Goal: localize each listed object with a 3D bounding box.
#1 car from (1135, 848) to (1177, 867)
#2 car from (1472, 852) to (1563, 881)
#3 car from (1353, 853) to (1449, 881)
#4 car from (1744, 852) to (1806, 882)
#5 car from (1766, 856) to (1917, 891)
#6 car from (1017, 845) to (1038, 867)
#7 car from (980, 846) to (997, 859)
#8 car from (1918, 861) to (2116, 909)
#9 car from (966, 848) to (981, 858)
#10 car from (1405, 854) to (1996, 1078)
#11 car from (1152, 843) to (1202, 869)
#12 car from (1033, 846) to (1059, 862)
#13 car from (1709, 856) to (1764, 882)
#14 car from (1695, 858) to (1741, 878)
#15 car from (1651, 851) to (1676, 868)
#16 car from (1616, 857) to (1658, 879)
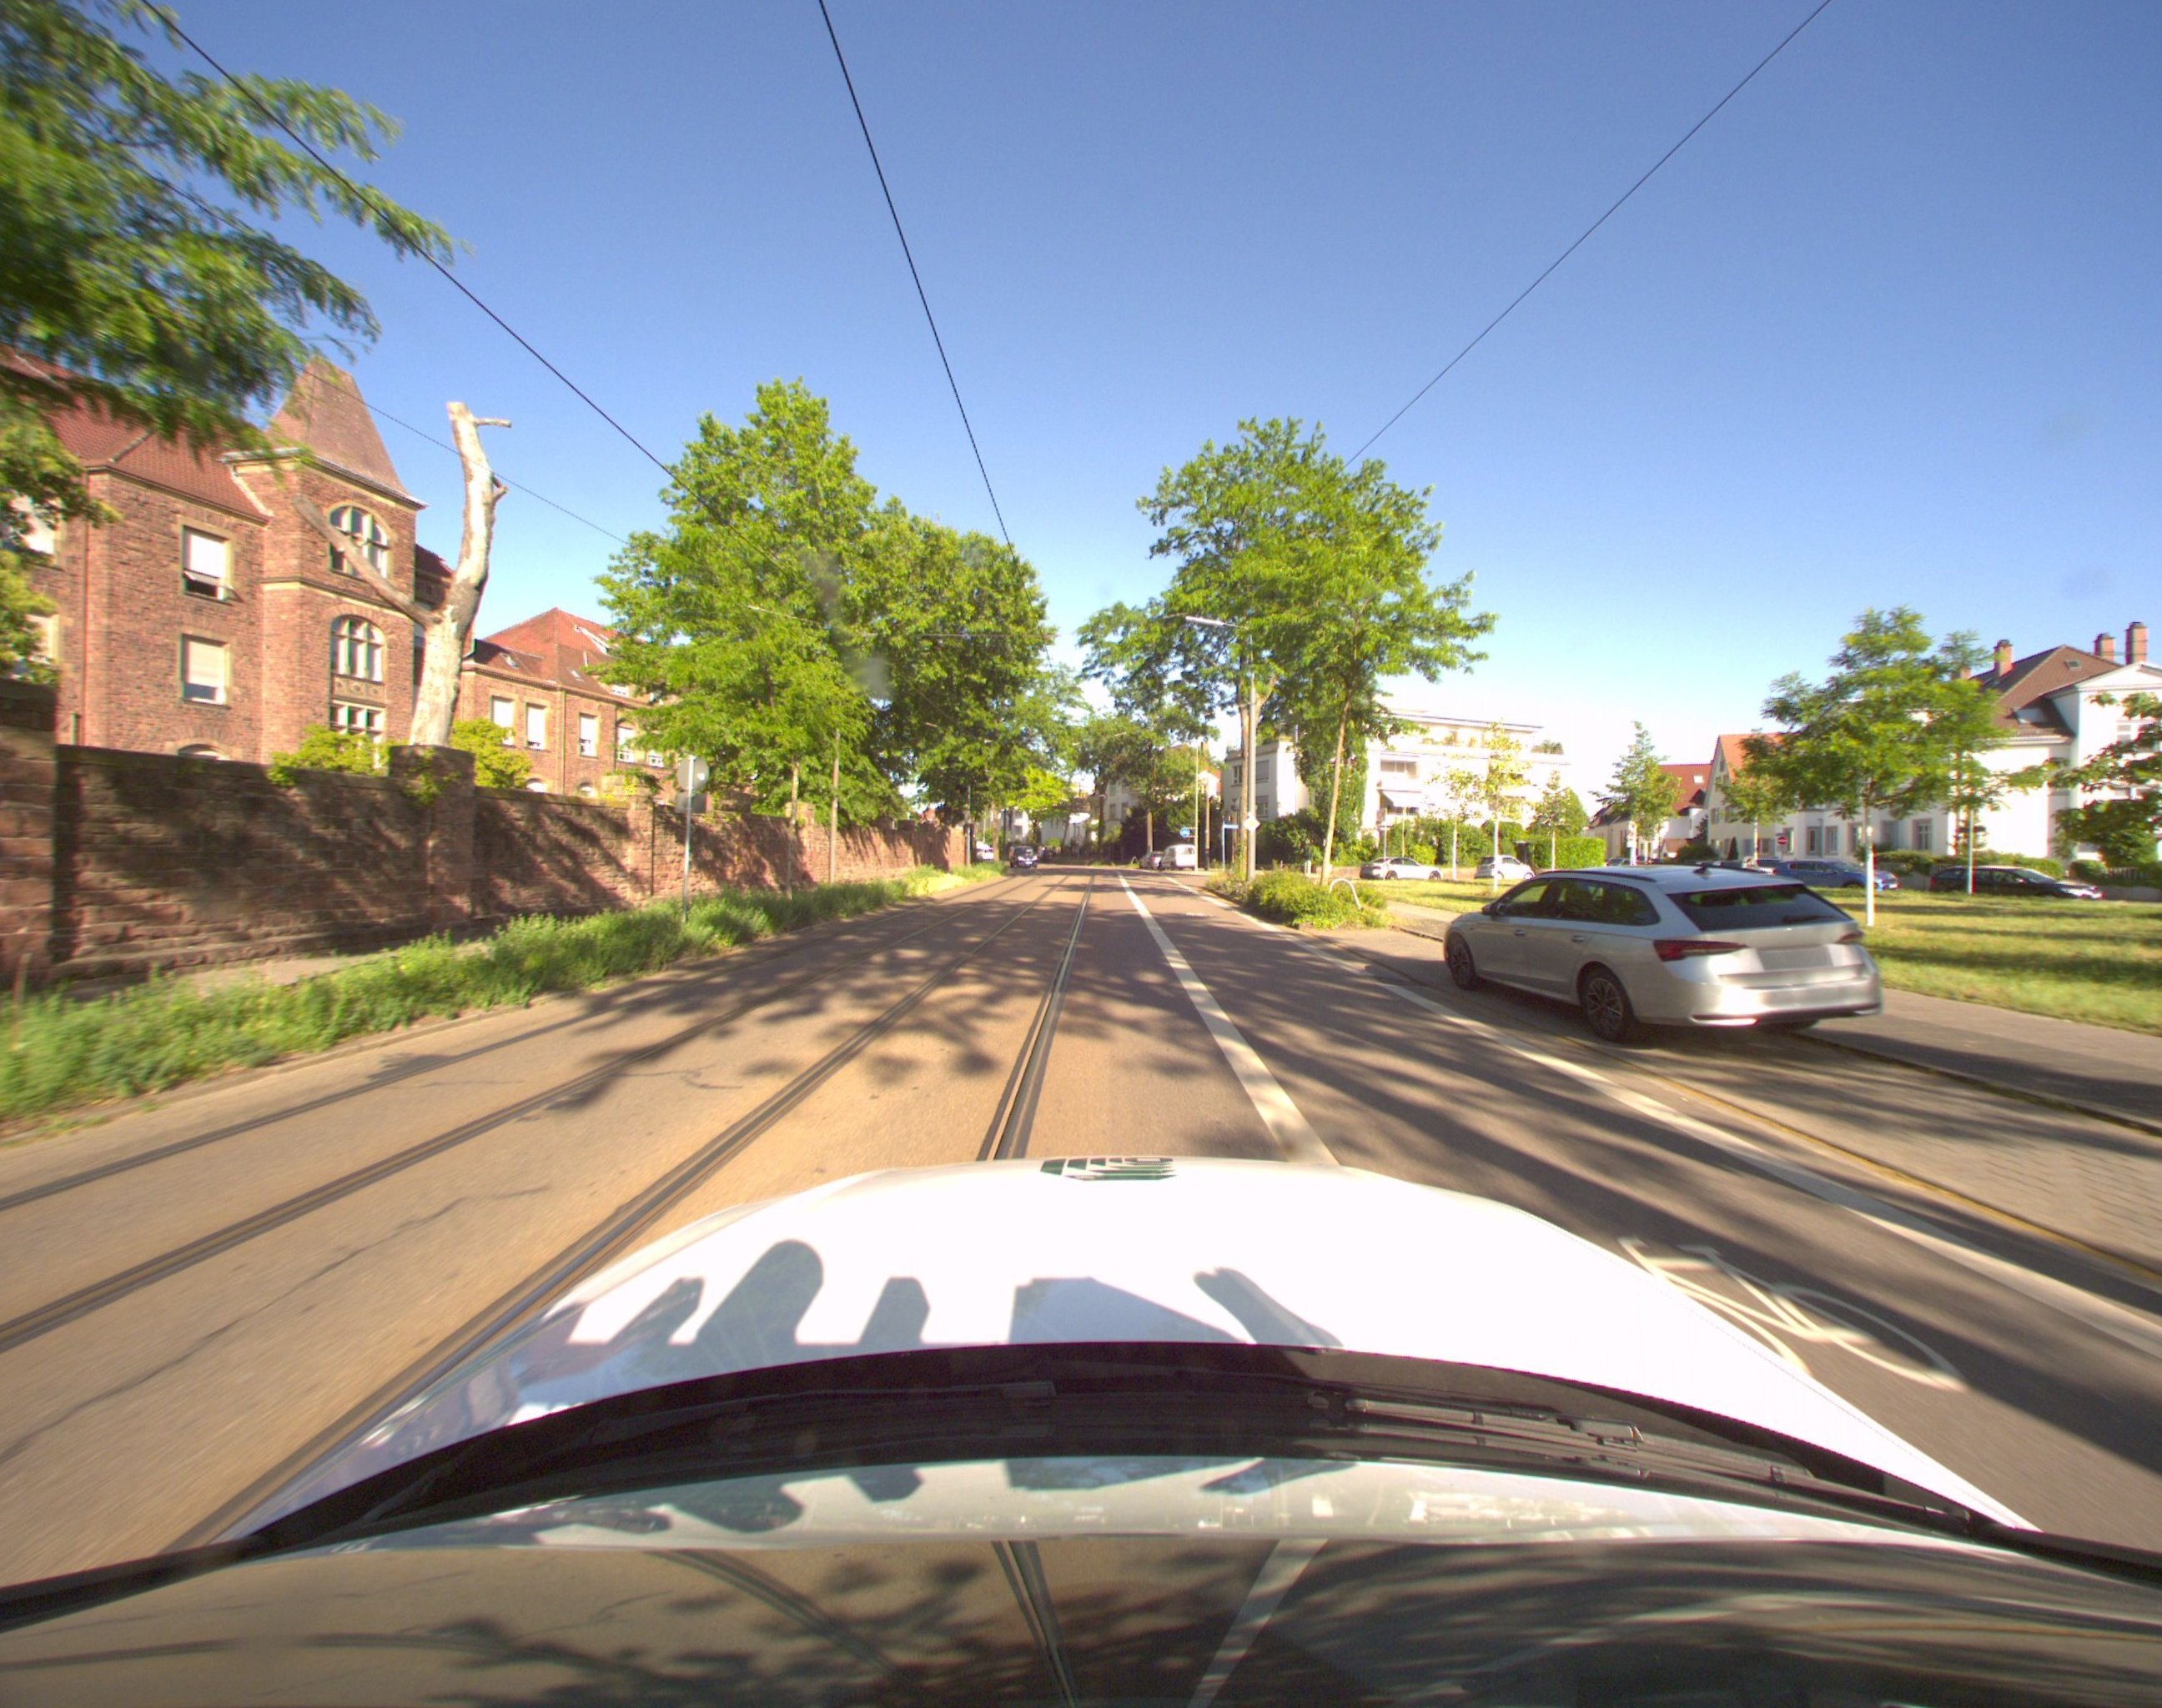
[{"bbox_3d":[5.926,0.272,64.749,1.997,1.423,4.311,0,0,-14],"label":"car"},{"bbox_3d":[24.160,0.702,45.120,4.281,1.511,1.833,1,-2,-11],"label":"car"},{"bbox_3d":[16.966,0.682,43.217,4.520,1.369,1.958,1,0,-17],"label":"car"},{"bbox_3d":[44.922,0.823,52.846,1.975,1.842,4.583,1,-1,26],"label":"car"},{"bbox_3d":[35.047,0.865,37.722,2.063,1.471,4.728,1,0,-17],"label":"car"},{"bbox_3d":[-4.509,0.180,69.028,1.628,1.792,4.335,0,0,-2],"label":"car"},{"bbox_3d":[-11.985,-0.166,105.011,1.893,1.611,4.212,1,-2,-11],"label":"car"},{"bbox_3d":[36.613,1.176,32.054,1.999,1.650,4.738,2,0,-19],"label":"car"},{"bbox_3d":[-16.153,-0.169,122.332,1.993,1.442,3.987,1,0,-9],"label":"car"},{"bbox_3d":[5.455,0.791,8.463,1.994,1.465,5.432,-3,0,0],"label":"car"},{"bbox_3d":[6.873,0.106,58.836,2.025,1.746,4.730,0,1,-14],"label":"car"},{"bbox_3d":[-4.223,-0.004,96.937,1.809,1.694,4.701,-3,1,-18],"label":"car"},{"bbox_3d":[48.365,1.091,60.230,1.976,1.785,4.627,1,0,23],"label":"car"},{"bbox_3d":[50.850,1.103,65.114,1.976,1.519,4.022,1,0,23],"label":"car"},{"bbox_3d":[59.725,0.591,83.594,1.856,1.708,4.315,1,0,32],"label":"car"},{"bbox_3d":[44.614,1.103,65.410,2.027,1.708,4.312,1,0,24],"label":"car"}]
